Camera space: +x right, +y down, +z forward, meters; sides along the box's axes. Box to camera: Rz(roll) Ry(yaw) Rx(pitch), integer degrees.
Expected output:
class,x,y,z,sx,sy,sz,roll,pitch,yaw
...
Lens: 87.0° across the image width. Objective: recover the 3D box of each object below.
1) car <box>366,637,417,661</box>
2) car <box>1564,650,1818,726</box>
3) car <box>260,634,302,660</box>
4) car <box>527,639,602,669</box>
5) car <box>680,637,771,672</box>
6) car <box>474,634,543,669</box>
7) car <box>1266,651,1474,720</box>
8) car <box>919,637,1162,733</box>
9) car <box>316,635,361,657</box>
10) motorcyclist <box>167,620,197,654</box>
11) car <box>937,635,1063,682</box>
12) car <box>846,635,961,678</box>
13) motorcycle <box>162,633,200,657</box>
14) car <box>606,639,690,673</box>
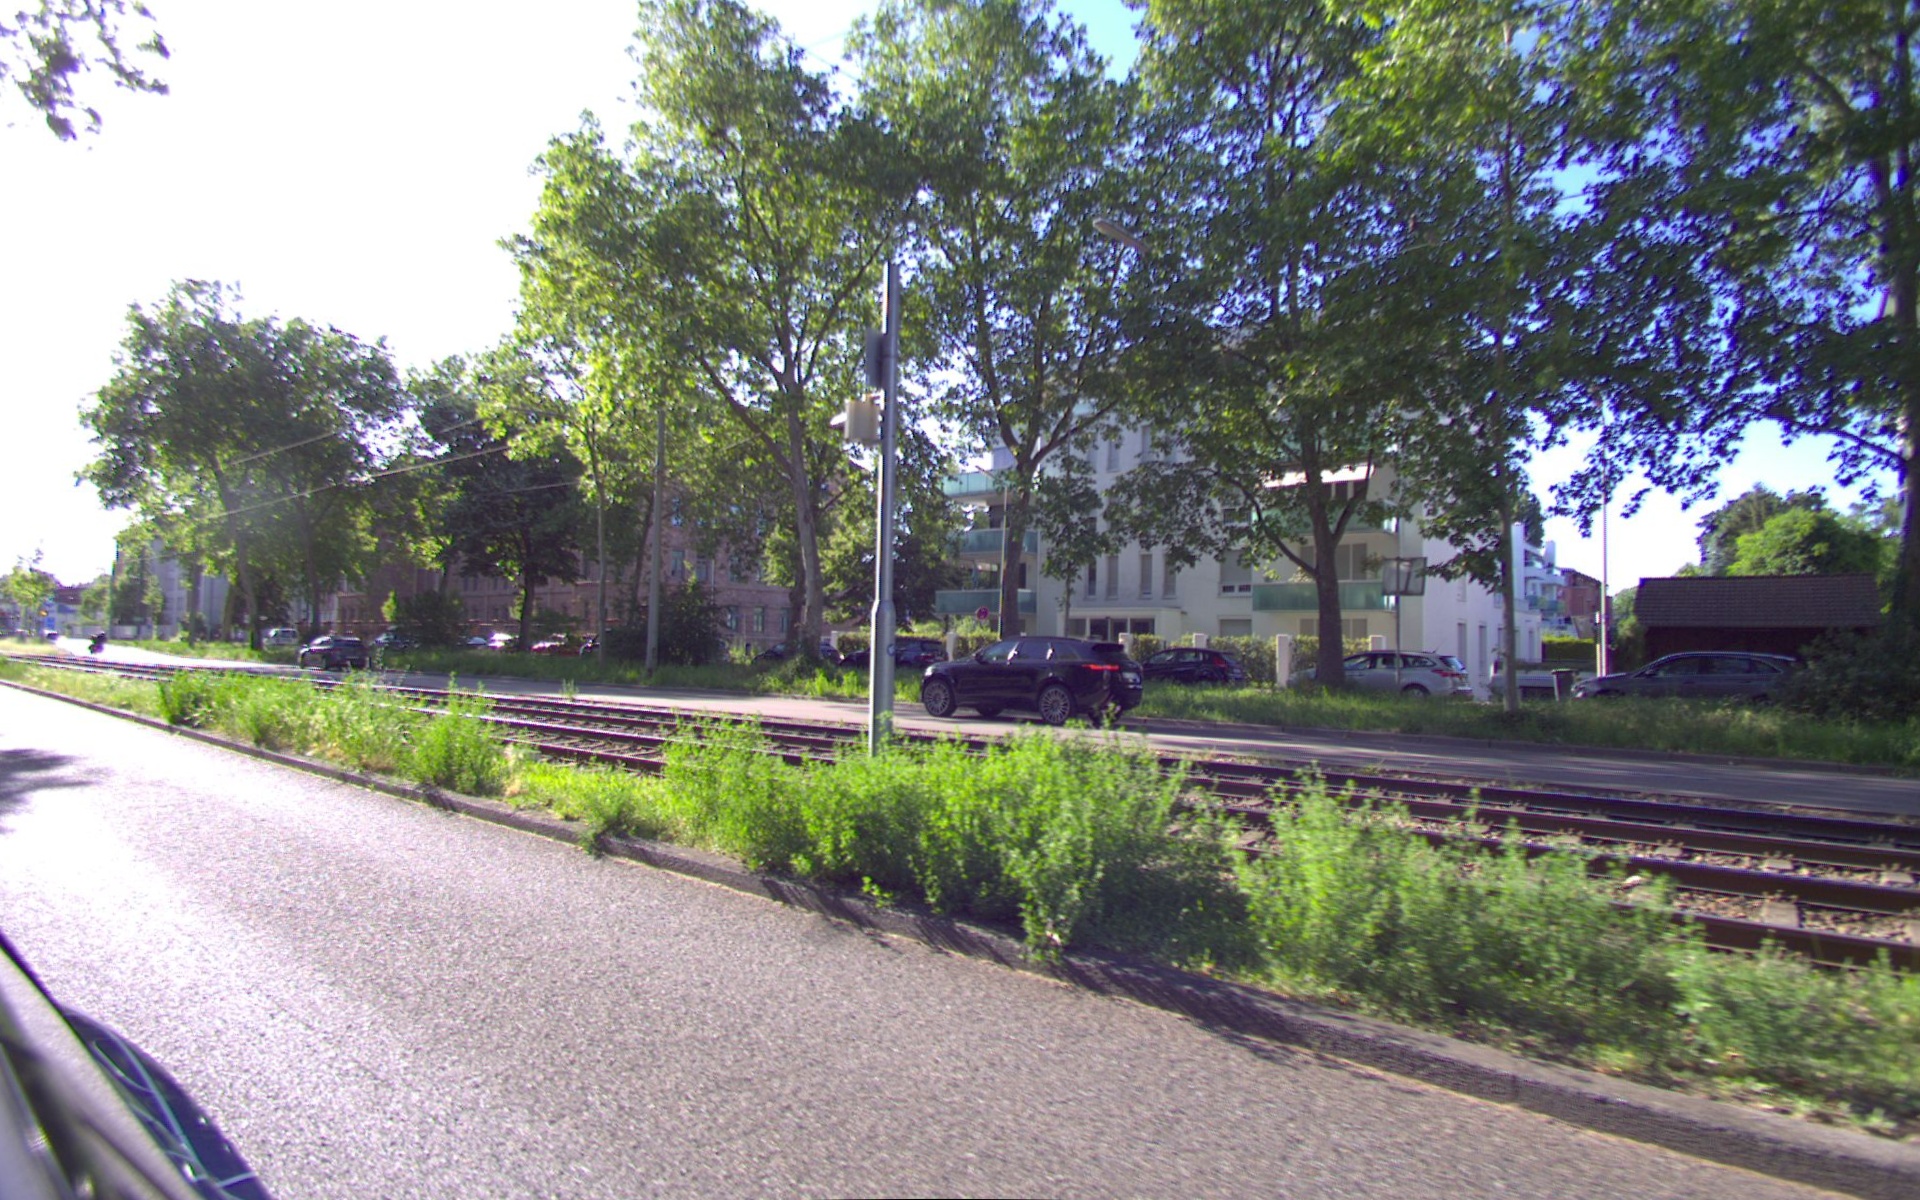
class,x,y,z,sx,sy,sz,roll,pitch,yaw
car,-37.221,3.190,66.277,3.686,1.497,1.748,-2,-4,41
car,15.862,1.849,22.086,4.316,1.464,1.973,-2,-4,41
car,-53.733,3.702,80.036,4.002,2.029,1.971,-2,-4,45
car,-20.476,2.780,52.334,3.998,1.497,1.973,-2,-4,41
car,-10.394,2.395,44.756,3.998,1.497,1.973,-2,-4,41
car,-25.078,2.851,56.121,3.998,1.863,1.973,-2,-4,41
car,10.610,2.146,26.380,4.653,1.603,1.973,-2,-4,41
car,1.501,1.592,19.733,4.456,1.660,1.839,-2,-5,39
car,-44.555,3.303,72.530,3.686,1.497,1.748,-2,-4,41
motorcyclist,-67.754,3.248,88.123,1.679,2.945,1.724,-2,-4,41
car,1.314,1.916,33.890,3.998,1.484,1.778,-2,-4,41
car,-2.127,2.049,37.281,3.998,1.497,1.973,-2,-4,41
motorcycle,-67.716,3.902,87.979,3.996,2.073,1.707,-2,-4,39
car,-14.690,2.618,47.607,3.998,1.497,1.973,-2,-4,41
